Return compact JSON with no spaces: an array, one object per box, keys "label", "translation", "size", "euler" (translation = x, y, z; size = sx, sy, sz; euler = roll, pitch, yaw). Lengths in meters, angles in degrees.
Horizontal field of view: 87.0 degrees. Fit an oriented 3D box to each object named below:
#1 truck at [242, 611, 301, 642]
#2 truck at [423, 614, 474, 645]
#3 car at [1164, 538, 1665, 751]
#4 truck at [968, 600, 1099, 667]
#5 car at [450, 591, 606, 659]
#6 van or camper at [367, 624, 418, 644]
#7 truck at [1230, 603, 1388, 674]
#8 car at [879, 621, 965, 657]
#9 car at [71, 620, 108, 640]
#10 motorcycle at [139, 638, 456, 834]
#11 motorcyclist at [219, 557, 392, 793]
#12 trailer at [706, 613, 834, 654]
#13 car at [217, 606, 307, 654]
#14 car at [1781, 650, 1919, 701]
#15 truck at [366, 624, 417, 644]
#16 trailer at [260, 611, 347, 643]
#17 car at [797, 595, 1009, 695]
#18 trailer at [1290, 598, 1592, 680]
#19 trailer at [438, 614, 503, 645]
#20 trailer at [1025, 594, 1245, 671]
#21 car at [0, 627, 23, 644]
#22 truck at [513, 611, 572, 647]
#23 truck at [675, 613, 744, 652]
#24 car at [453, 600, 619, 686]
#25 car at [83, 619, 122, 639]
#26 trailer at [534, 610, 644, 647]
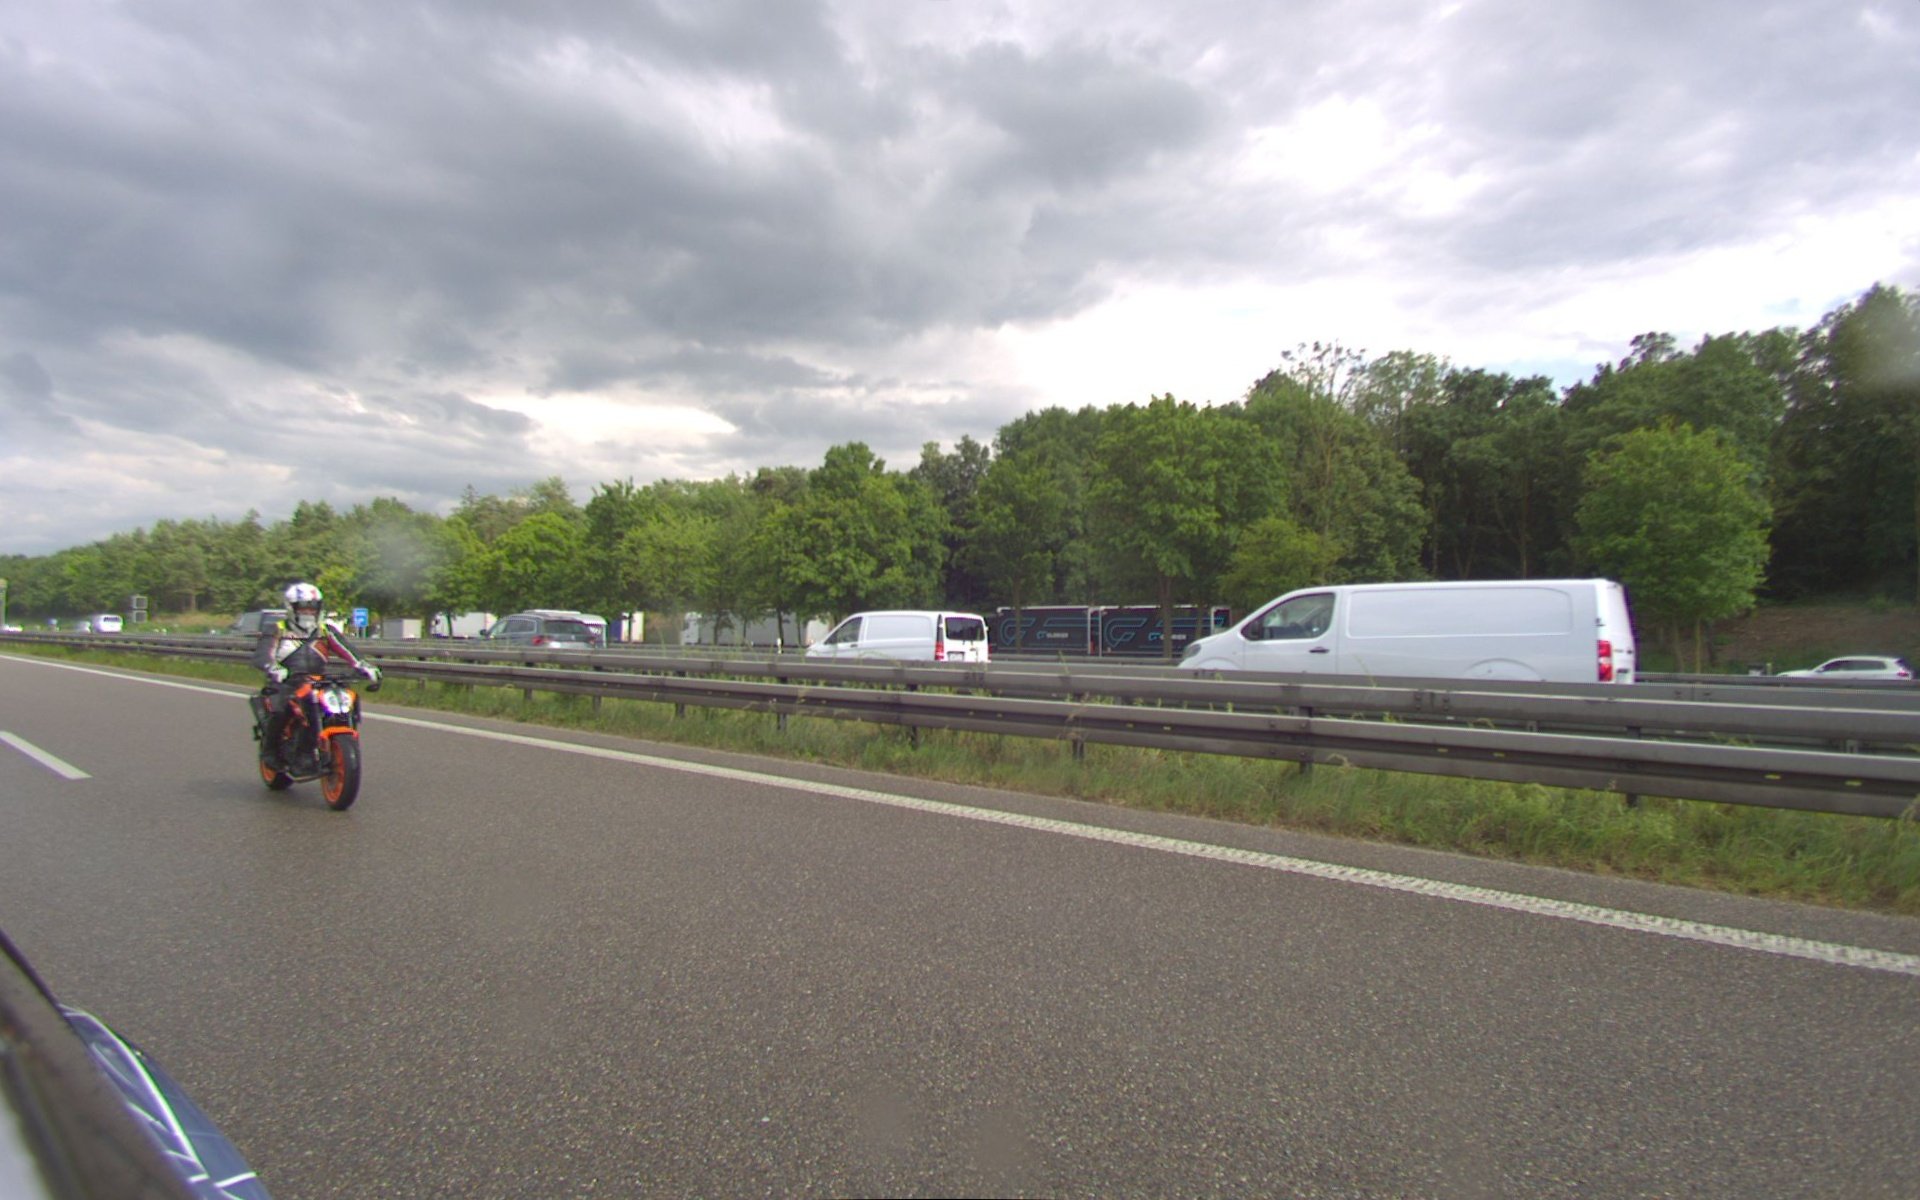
[{"label":"truck","translation":[-86.985,3.356,127.824],"size":[6.880,3.733,3.189],"euler":[-1,0,26]},{"label":"truck","translation":[-56.633,3.278,112.038],"size":[5.066,3.292,2.636],"euler":[-1,0,30]},{"label":"car","translation":[5.307,0.454,12.306],"size":[5.205,2.061,2.030],"euler":[-1,0,40]},{"label":"truck","translation":[4.934,2.160,69.046],"size":[8.413,4.266,3.748],"euler":[-1,0,41]},{"label":"car","translation":[-14.595,0.797,33.955],"size":[6.496,2.061,2.152],"euler":[-1,0,40]},{"label":"van or camper","translation":[-65.948,3.901,117.627],"size":[6.292,2.282,2.105],"euler":[-1,-1,28]},{"label":"truck","translation":[19.128,1.989,55.744],"size":[7.351,3.616,3.748],"euler":[-1,0,41]},{"label":"car","translation":[-2.842,2.834,75.215],"size":[6.207,2.501,2.764],"euler":[-1,0,41]},{"label":"car","translation":[-88.225,2.979,102.526],"size":[5.256,1.905,2.026],"euler":[-1,0,40]},{"label":"motorcycle","translation":[-5.472,0.966,8.237],"size":[3.189,1.235,1.174],"euler":[-1,0,37]},{"label":"motorcyclist","translation":[-5.184,0.549,8.019],"size":[0.999,1.719,0.872],"euler":[-1,0,38]},{"label":"trailer","translation":[-16.176,2.784,85.328],"size":[12.458,3.241,3.315],"euler":[-1,-2,39]},{"label":"car","translation":[-29.873,1.249,43.236],"size":[5.055,1.905,1.933],"euler":[-1,0,40]},{"label":"car","translation":[35.119,2.911,39.736],"size":[4.368,1.731,2.036],"euler":[-1,0,43]},{"label":"truck","translation":[-66.133,3.903,117.694],"size":[6.288,2.282,2.105],"euler":[-1,-1,28]},{"label":"trailer","translation":[-81.115,3.302,124.908],"size":[12.504,3.767,3.185],"euler":[-1,-2,27]},{"label":"car","translation":[-1.377,0.939,23.106],"size":[4.648,2.061,2.152],"euler":[-1,0,40]},{"label":"trailer","translation":[23.974,1.907,51.415],"size":[13.340,3.677,3.749],"euler":[-1,-2,42]},{"label":"trailer","translation":[-53.331,3.225,110.165],"size":[7.712,3.257,2.560],"euler":[-1,-2,31]},{"label":"trailer","translation":[10.723,2.013,63.985],"size":[13.796,4.439,3.749],"euler":[-1,-2,42]},{"label":"car","translation":[-114.555,4.205,121.739],"size":[5.256,1.905,2.026],"euler":[-1,0,40]},{"label":"truck","translation":[-42.833,2.939,103.773],"size":[5.880,3.482,2.837],"euler":[-1,0,33]},{"label":"truck","translation":[-22.332,2.856,90.197],"size":[5.498,3.298,3.322],"euler":[-1,0,37]},{"label":"car","translation":[-11.221,1.053,26.657],"size":[4.648,2.061,2.152],"euler":[-1,0,40]},{"label":"car","translation":[-83.648,2.790,98.687],"size":[5.256,1.905,2.026],"euler":[-1,0,40]},{"label":"trailer","translation":[-36.620,2.817,99.607],"size":[13.388,3.431,2.800],"euler":[-1,-2,34]}]
